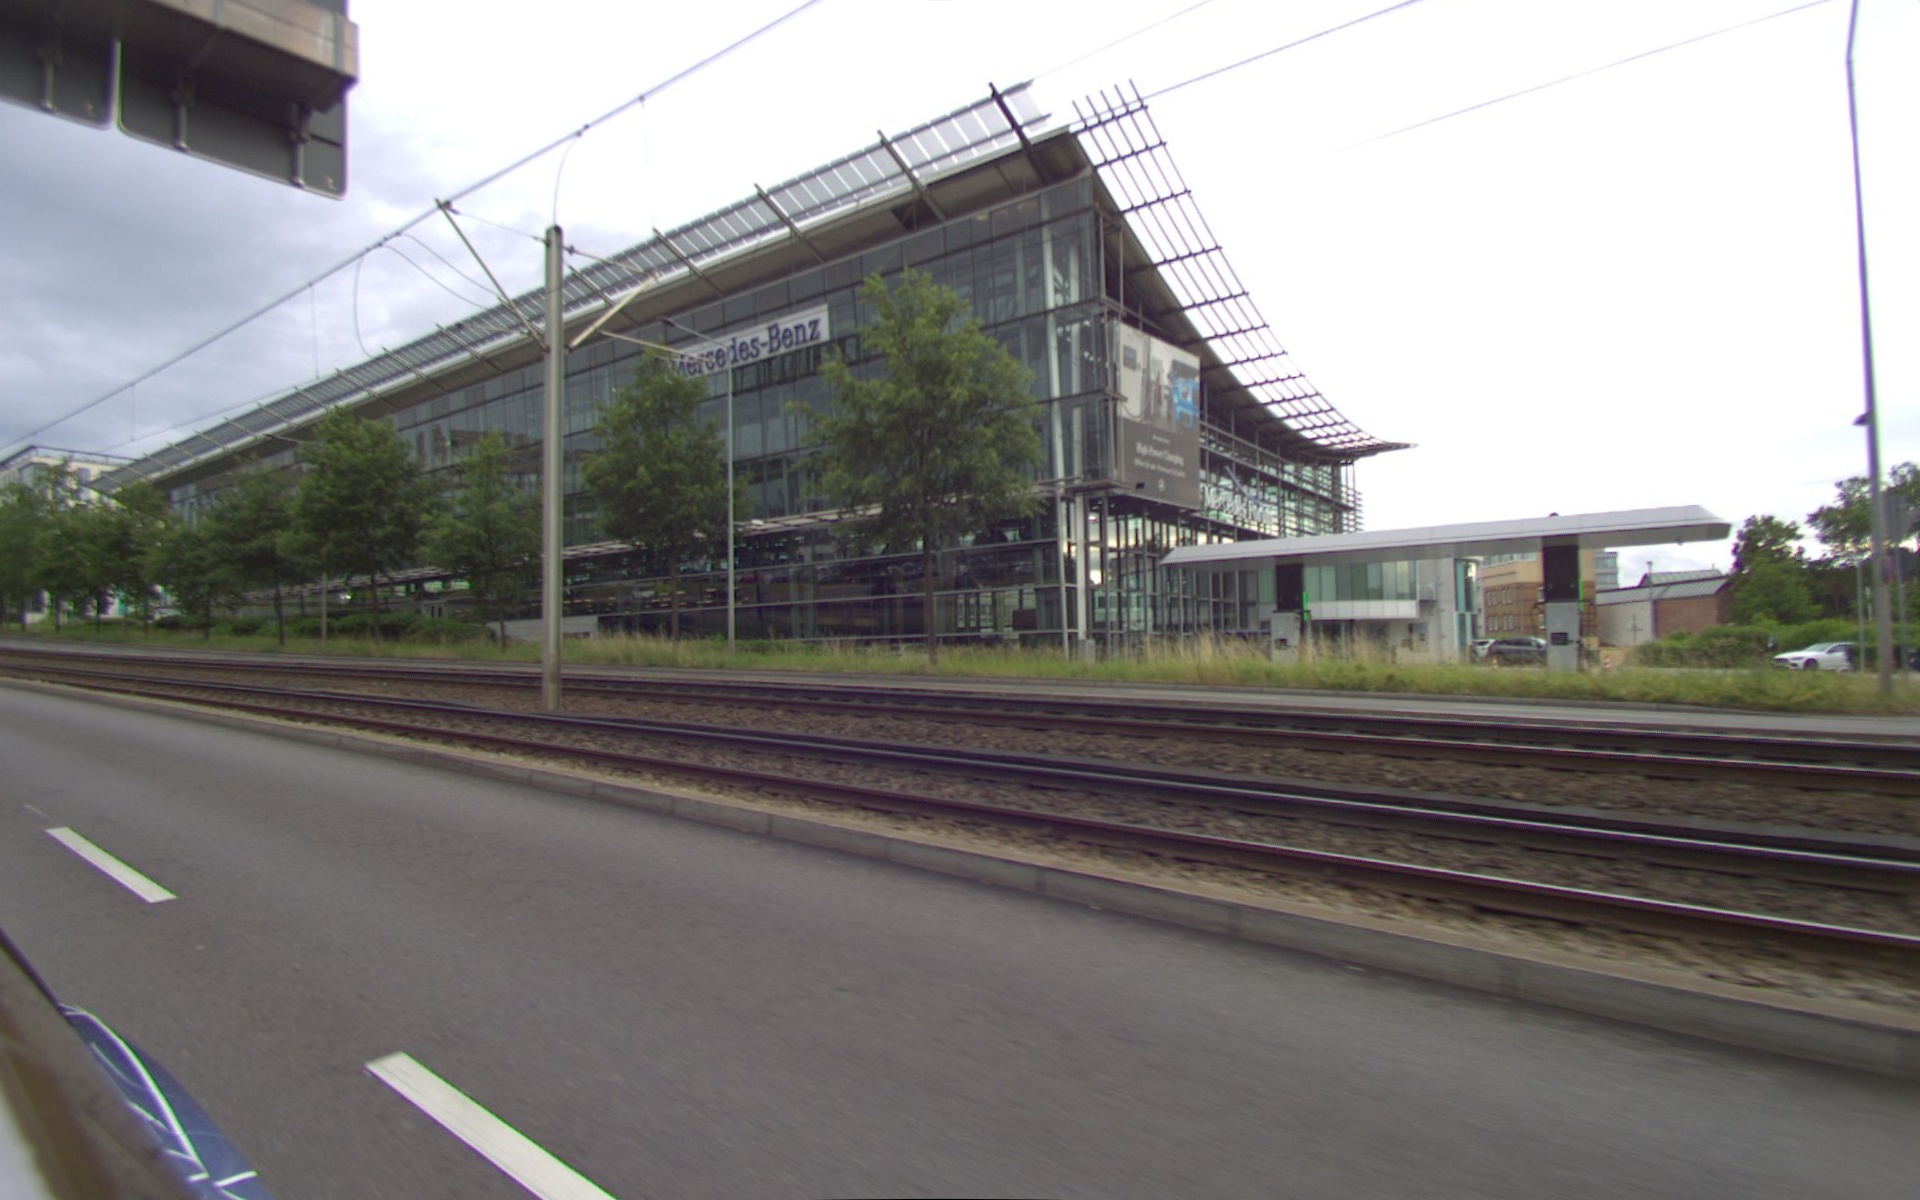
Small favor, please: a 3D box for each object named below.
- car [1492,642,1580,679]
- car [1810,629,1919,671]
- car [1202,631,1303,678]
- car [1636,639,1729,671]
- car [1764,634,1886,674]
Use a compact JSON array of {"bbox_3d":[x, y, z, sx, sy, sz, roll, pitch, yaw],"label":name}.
[{"bbox_3d":[30.705,3.203,54.004,1.755,1.723,3.753,0,0,-42],"label":"car"},{"bbox_3d":[41.486,2.250,45.951,3.954,1.741,1.995,0,0,9],"label":"car"},{"bbox_3d":[12.586,2.320,43.797,3.955,1.864,1.889,0,0,10],"label":"car"},{"bbox_3d":[42.605,3.227,59.779,3.954,1.741,1.995,0,0,9],"label":"car"},{"bbox_3d":[41.441,2.553,48.569,3.954,1.741,1.995,0,0,9],"label":"car"}]
